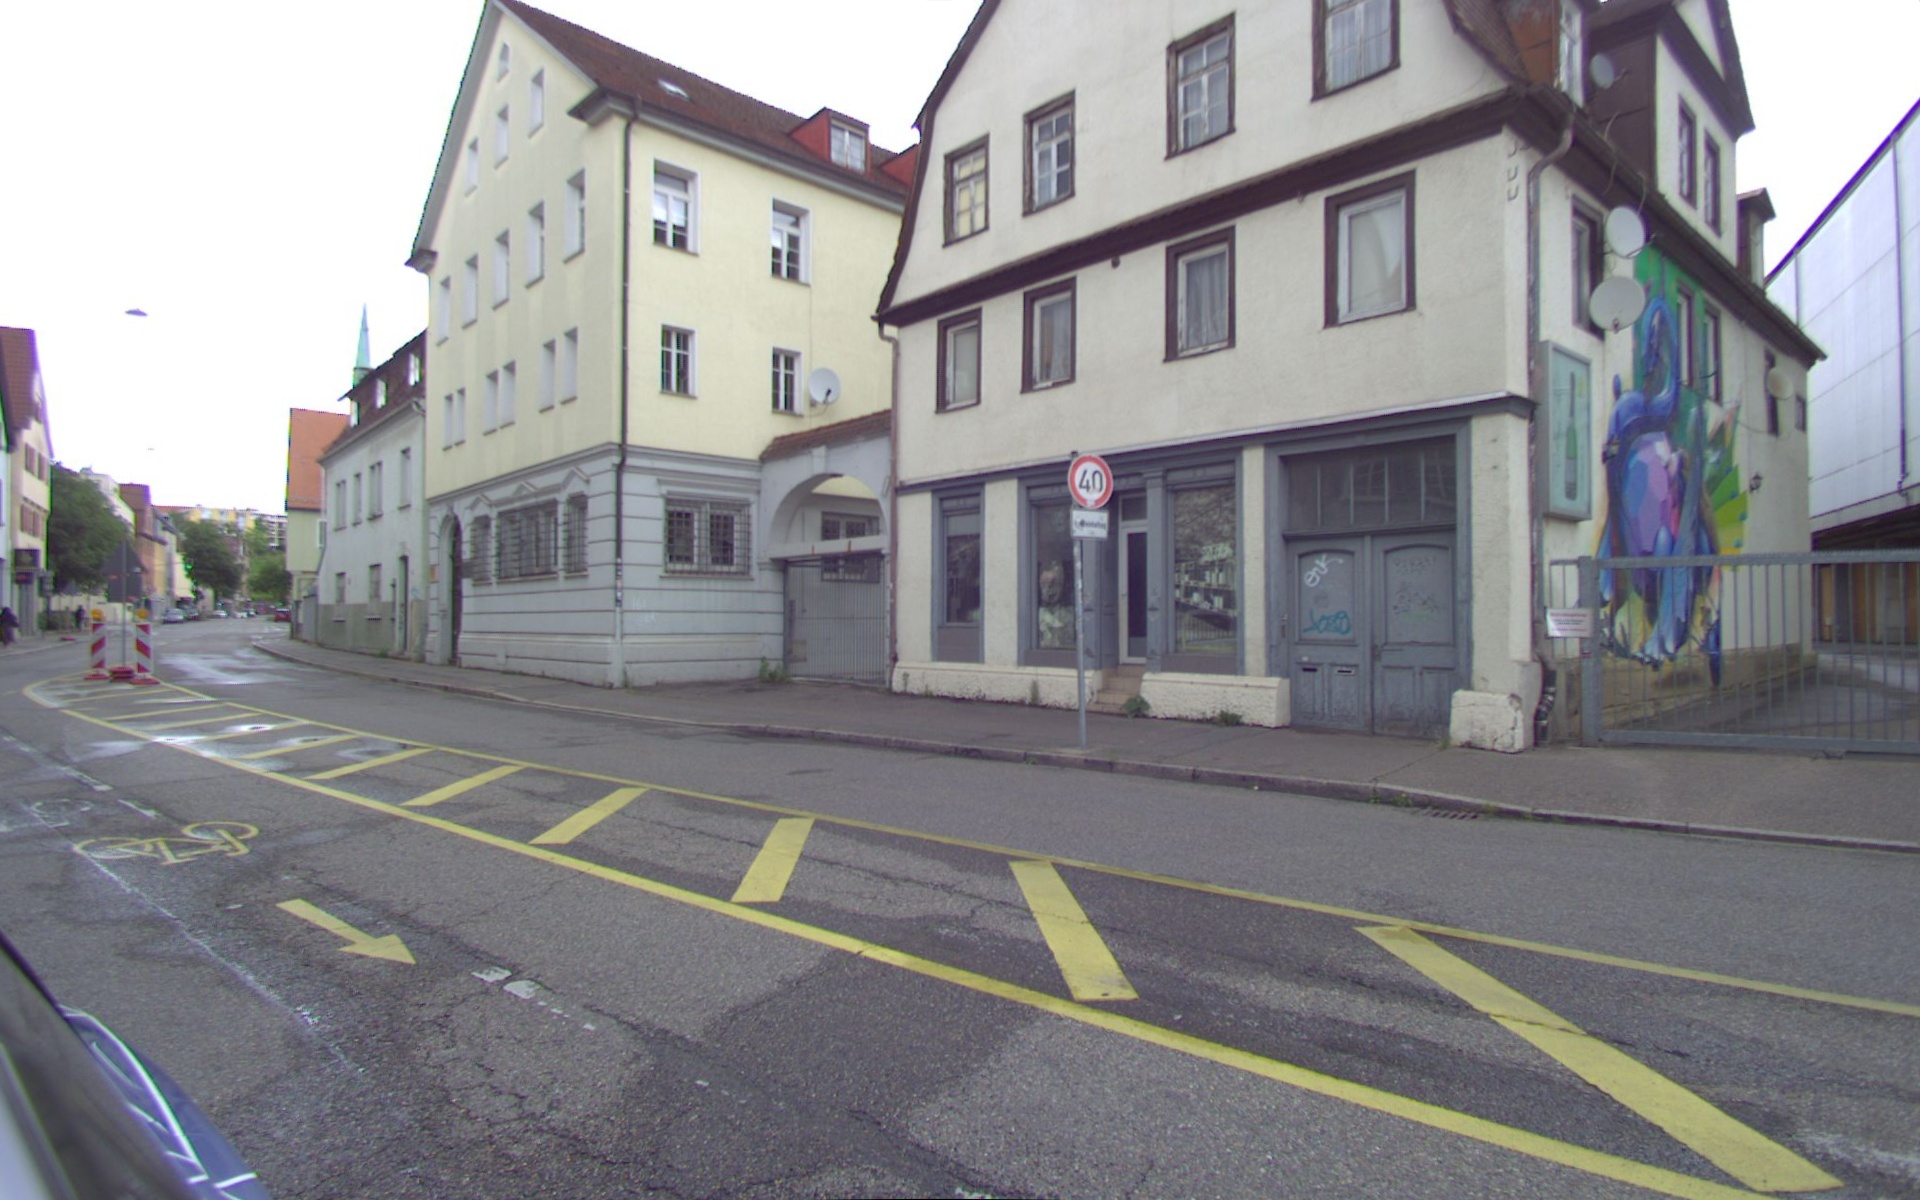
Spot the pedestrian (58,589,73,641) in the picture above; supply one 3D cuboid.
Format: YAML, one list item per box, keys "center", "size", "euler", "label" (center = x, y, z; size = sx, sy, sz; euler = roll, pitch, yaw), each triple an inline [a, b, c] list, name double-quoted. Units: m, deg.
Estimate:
- center: [-43.698, 0.742, 49.433]
  size: [0.487, 2.547, 0.747]
  euler: [1, -2, -38]
  label: "pedestrian"

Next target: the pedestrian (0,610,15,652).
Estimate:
- center: [-37.455, 1.211, 39.520]
  size: [0.714, 1.626, 0.650]
  euler: [0, -2, -36]
  label: "pedestrian"
